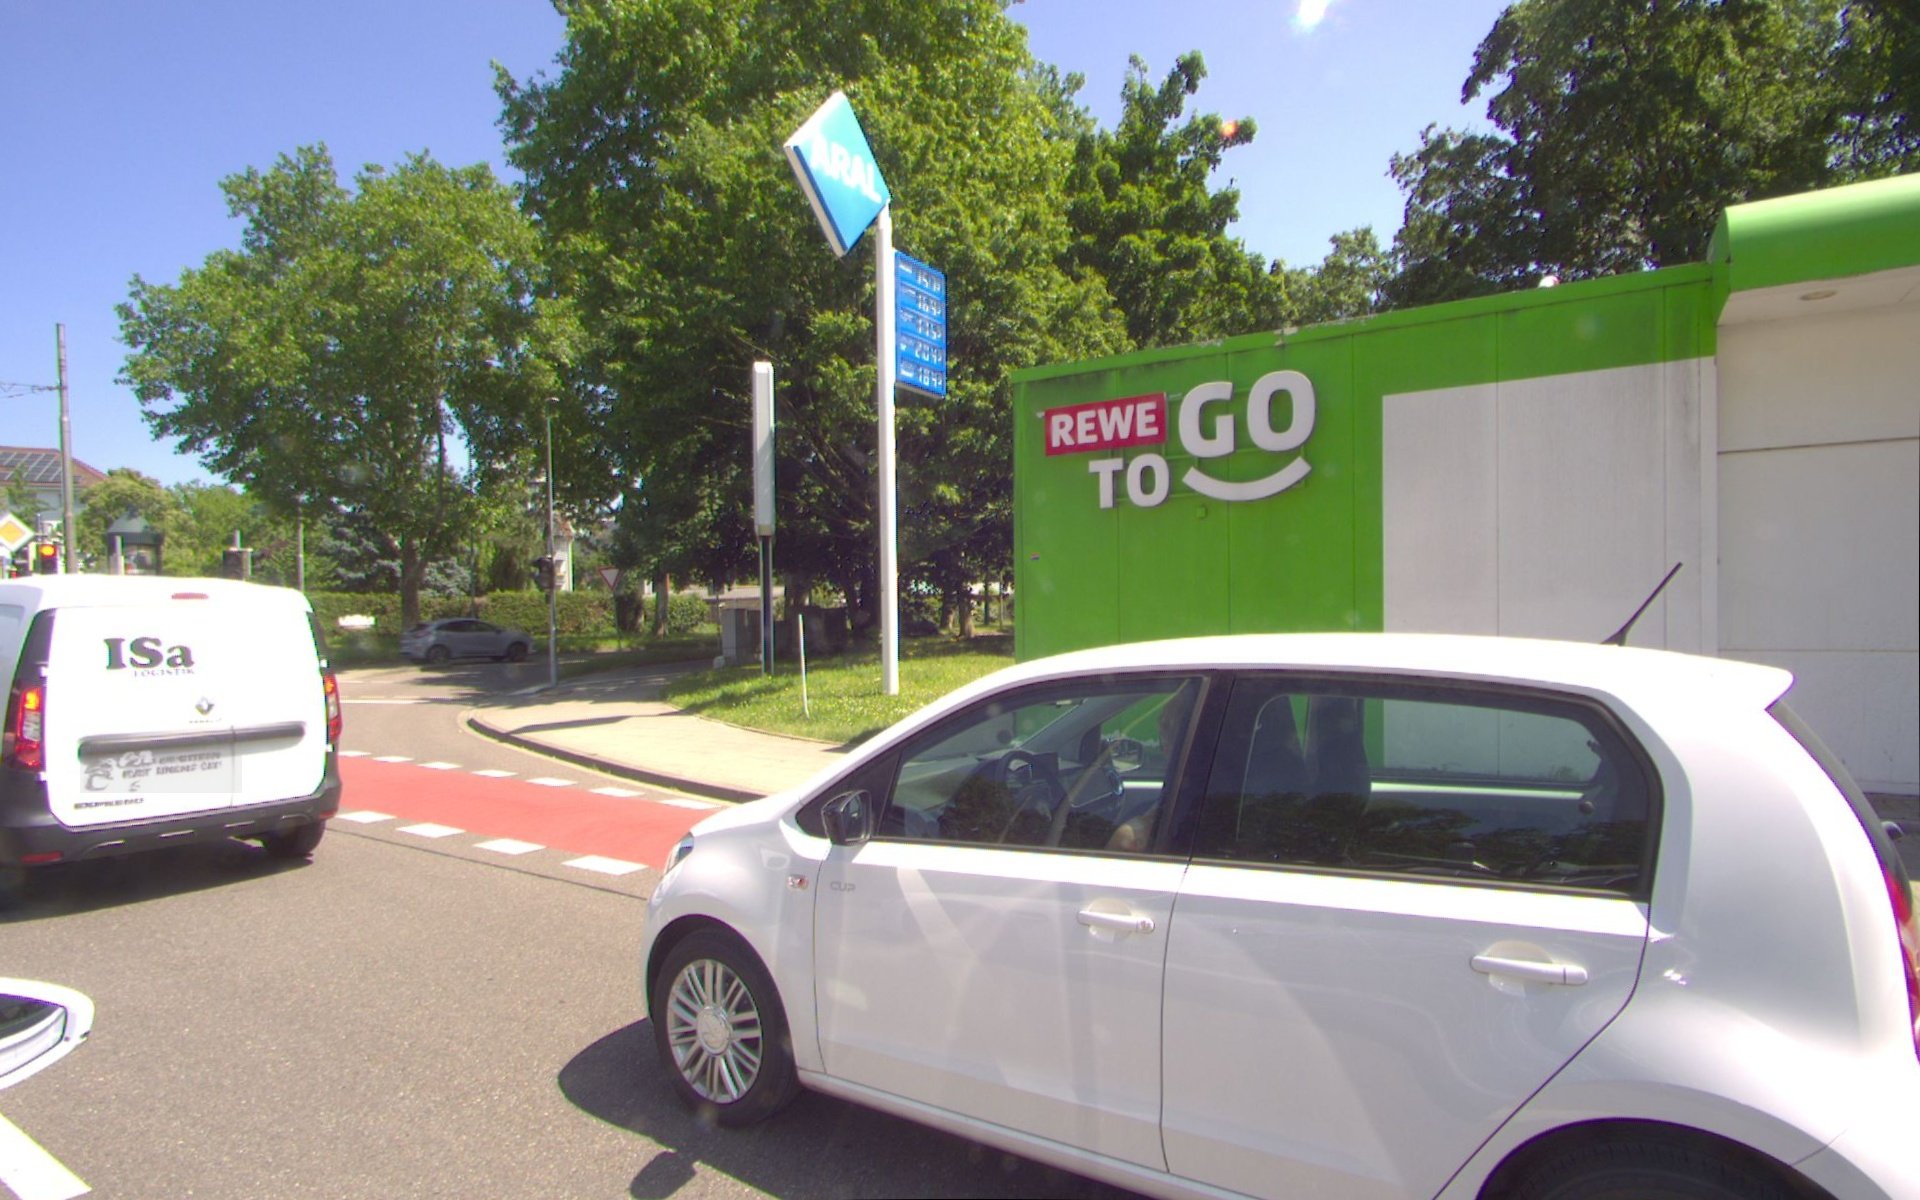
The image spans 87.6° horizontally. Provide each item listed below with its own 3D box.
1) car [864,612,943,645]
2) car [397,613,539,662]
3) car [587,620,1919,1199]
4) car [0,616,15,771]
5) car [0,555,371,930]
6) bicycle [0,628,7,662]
[{"bbox_3d":[-2.802,1.432,50.447,1.680,1.617,3.968,0,-1,41],"label":"car"},{"bbox_3d":[-16.607,1.245,33.913,1.735,1.539,3.963,-2,-1,44],"label":"car"},{"bbox_3d":[0.646,0.813,3.002,3.387,1.466,1.606,0,-1,33],"label":"car"},{"bbox_3d":[-11.904,0.940,10.609,3.943,1.589,1.832,0,-1,32],"label":"car"},{"bbox_3d":[-5.877,0.745,6.636,4.005,1.811,1.725,-1,-2,31],"label":"car"},{"bbox_3d":[-34.705,1.592,35.360,1.924,1.174,0.892,-1,-1,25],"label":"bicycle"}]
